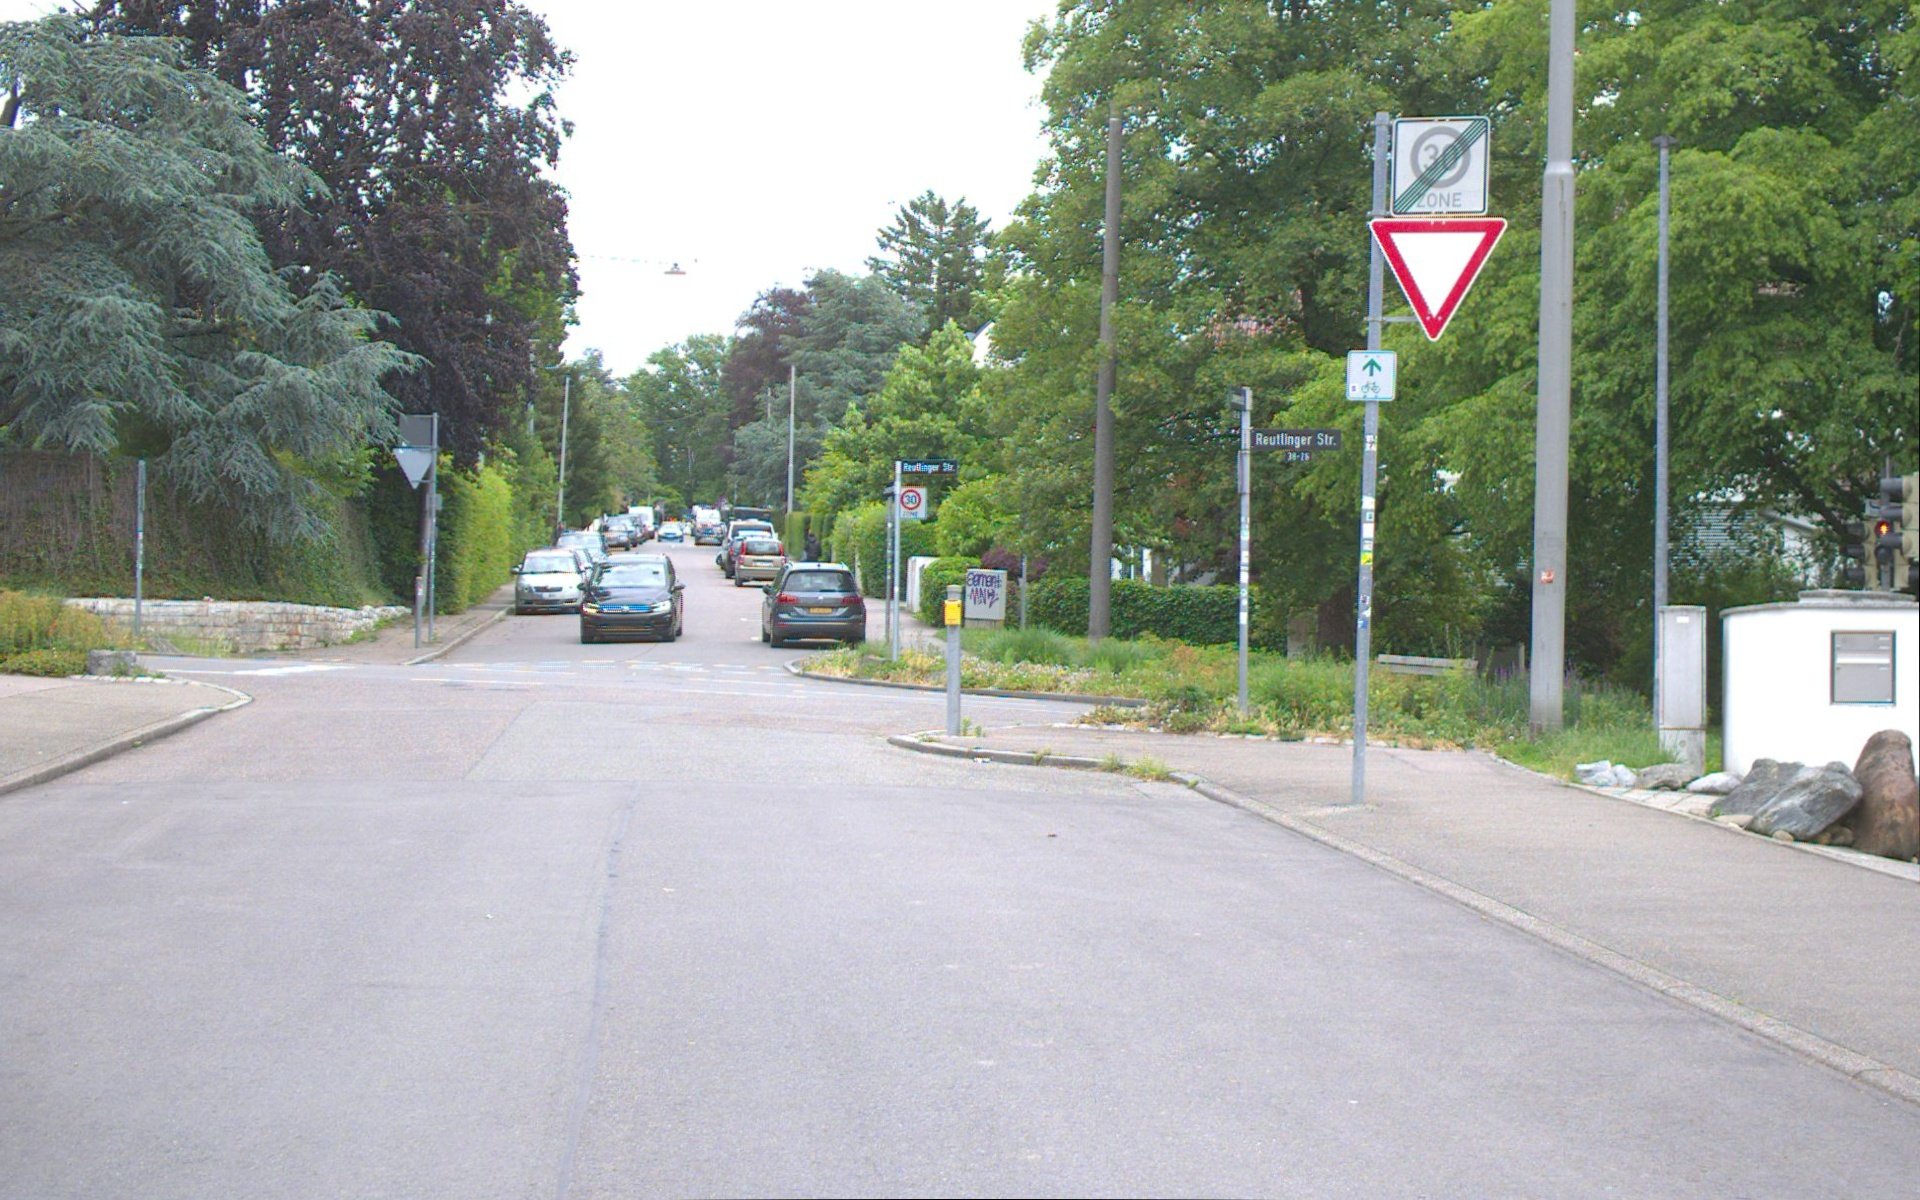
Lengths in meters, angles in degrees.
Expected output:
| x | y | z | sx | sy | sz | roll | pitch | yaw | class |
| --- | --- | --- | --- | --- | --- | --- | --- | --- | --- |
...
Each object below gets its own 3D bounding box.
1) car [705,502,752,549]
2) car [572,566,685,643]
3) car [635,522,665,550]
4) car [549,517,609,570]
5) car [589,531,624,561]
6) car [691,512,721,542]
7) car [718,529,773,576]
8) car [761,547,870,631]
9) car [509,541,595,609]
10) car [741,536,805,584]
| x | y | z | sx | sy | sz | roll | pitch | yaw | class |
| --- | --- | --- | --- | --- | --- | --- | --- | --- | --- |
| -8.673 | -2.785 | 128.638 | 1.633 | 1.695 | 3.495 | 2 | 1 | -5 | car |
| -6.362 | 0.068 | 66.331 | 1.728 | 1.402 | 3.803 | 1 | 1 | 1 | car |
| -21.890 | -4.490 | 242.753 | 1.993 | 1.875 | 4.001 | 3 | 1 | -5 | car |
| -12.290 | -1.834 | 111.099 | 1.711 | 1.580 | 4.001 | 1 | 2 | -4 | car |
| -17.655 | -2.690 | 171.753 | 1.626 | 1.381 | 3.599 | 3 | 1 | -5 | car |
| -14.880 | -4.266 | 201.209 | 1.633 | 1.695 | 3.495 | 2 | 1 | -5 | car |
| -7.271 | -1.627 | 116.578 | 1.789 | 1.524 | 3.734 | 1 | 1 | -3 | car |
| -2.733 | -0.229 | 64.326 | 1.778 | 1.484 | 4.001 | 1 | 1 | -6 | car |
| -9.928 | -0.631 | 83.882 | 1.711 | 1.580 | 4.000 | 1 | 1 | -2 | car |
| -5.882 | -1.268 | 107.890 | 1.810 | 1.331 | 3.633 | 2 | 2 | -5 | car |
